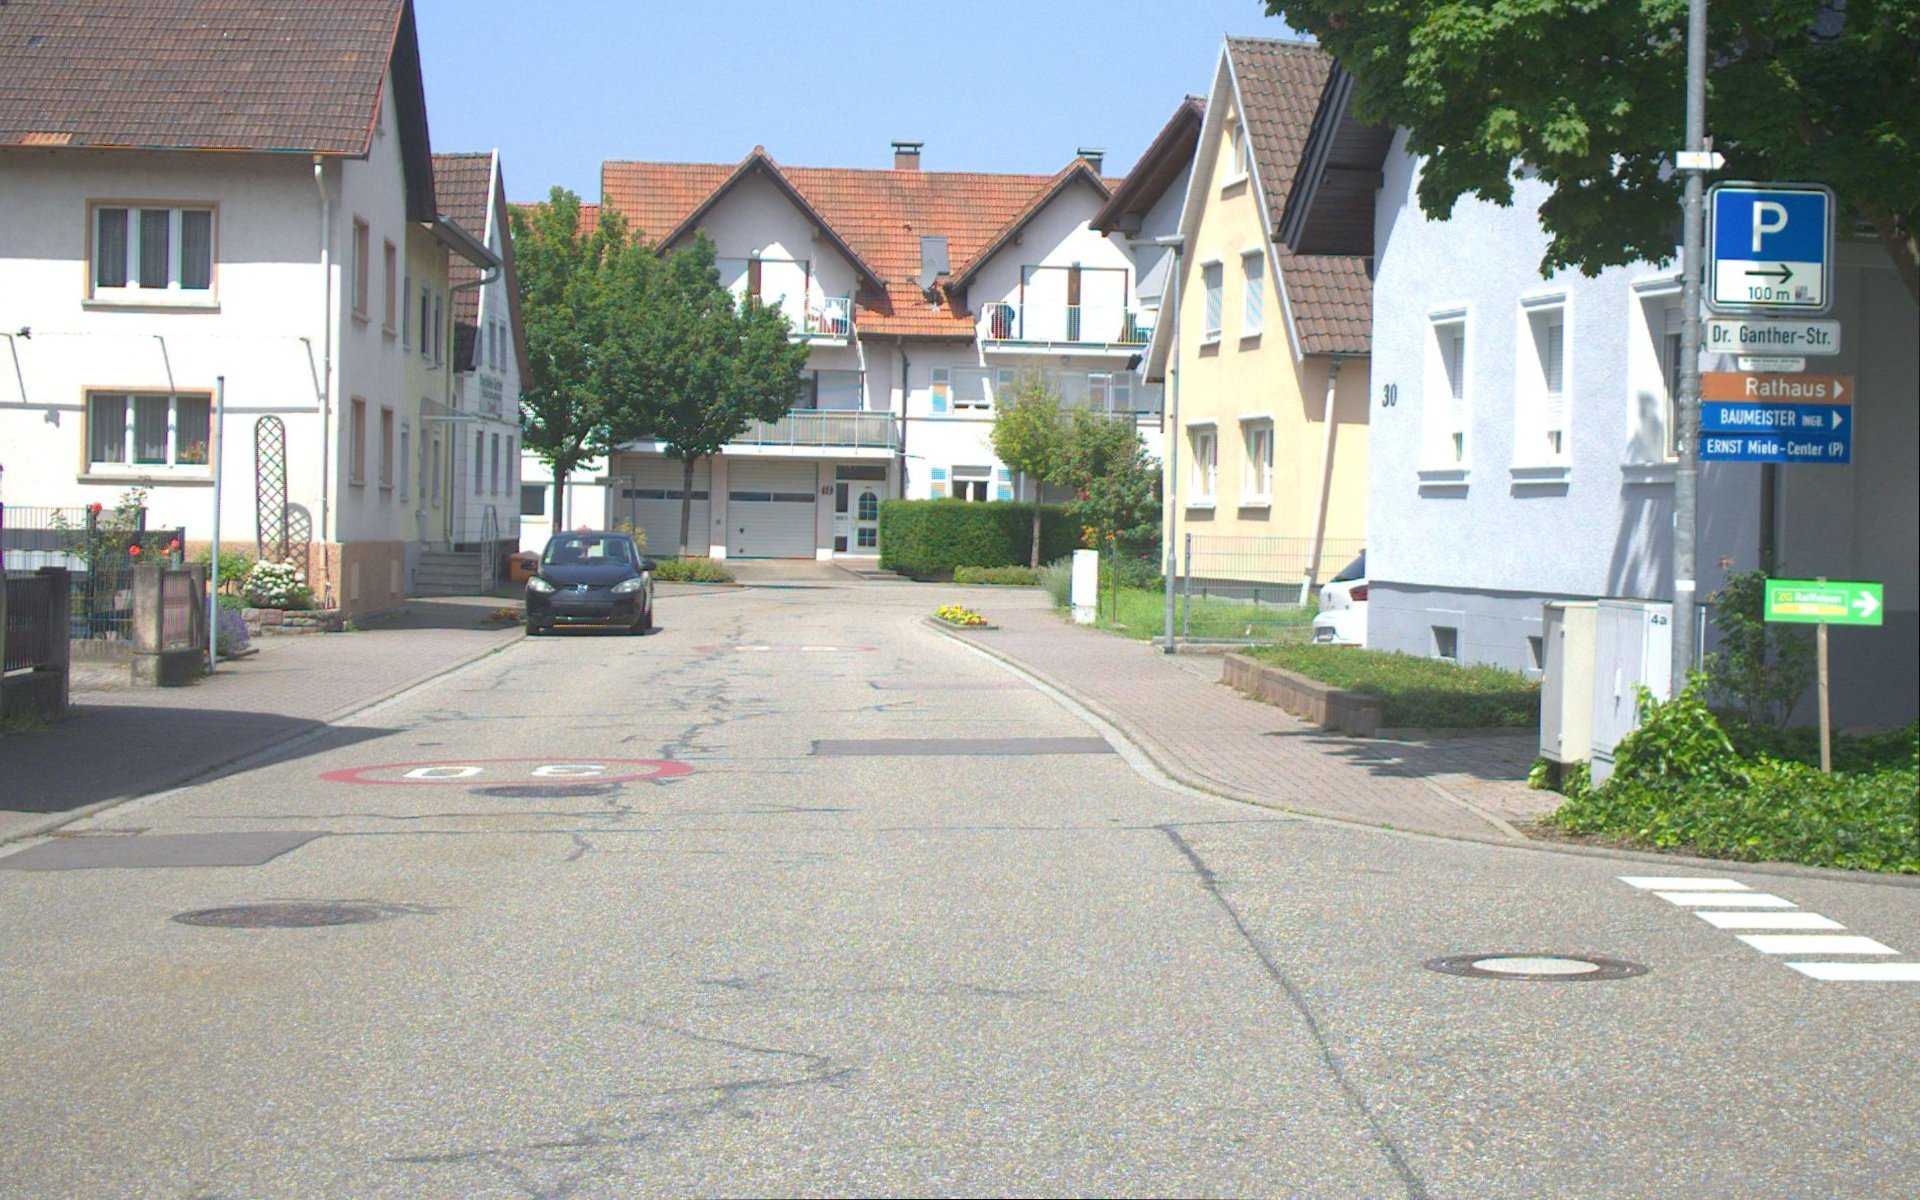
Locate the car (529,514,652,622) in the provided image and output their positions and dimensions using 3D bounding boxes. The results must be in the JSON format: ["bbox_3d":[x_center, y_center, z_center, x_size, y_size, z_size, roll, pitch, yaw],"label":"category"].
[{"bbox_3d":[-5.287,-0.493,49.529,1.626,1.481,4.001,0,2,-4],"label":"car"}]

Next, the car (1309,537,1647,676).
[{"bbox_3d":[5.163,0.066,34.416,3.042,1.341,1.423,0,0,-9],"label":"car"}]
